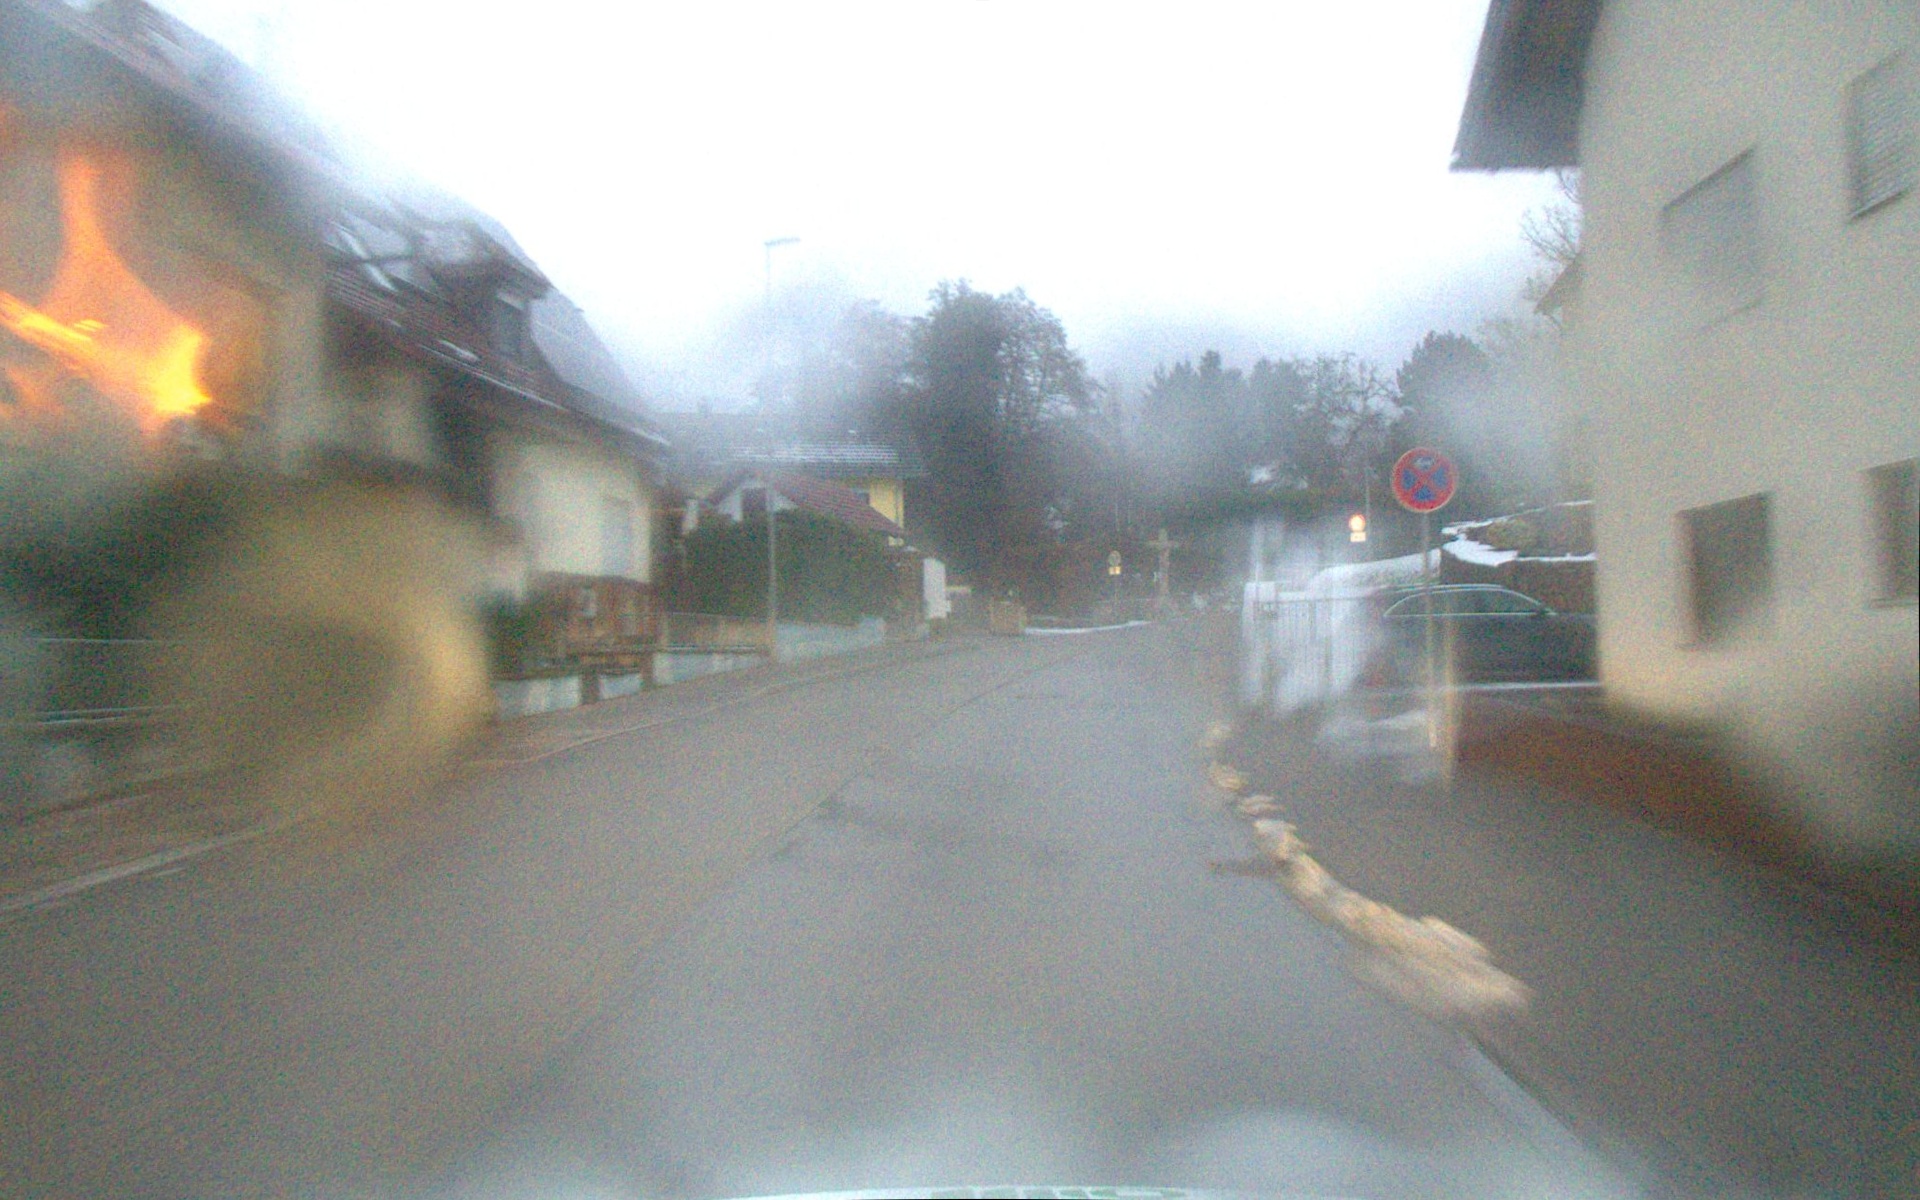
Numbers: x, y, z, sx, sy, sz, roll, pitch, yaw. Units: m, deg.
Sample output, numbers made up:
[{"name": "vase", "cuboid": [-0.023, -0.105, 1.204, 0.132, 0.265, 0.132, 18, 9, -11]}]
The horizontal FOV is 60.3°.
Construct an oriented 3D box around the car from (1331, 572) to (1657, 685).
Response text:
[{"name": "car", "cuboid": [8.092, 0.422, 25.457, 4.409, 1.469, 2.001, -3, 0, 6]}]
